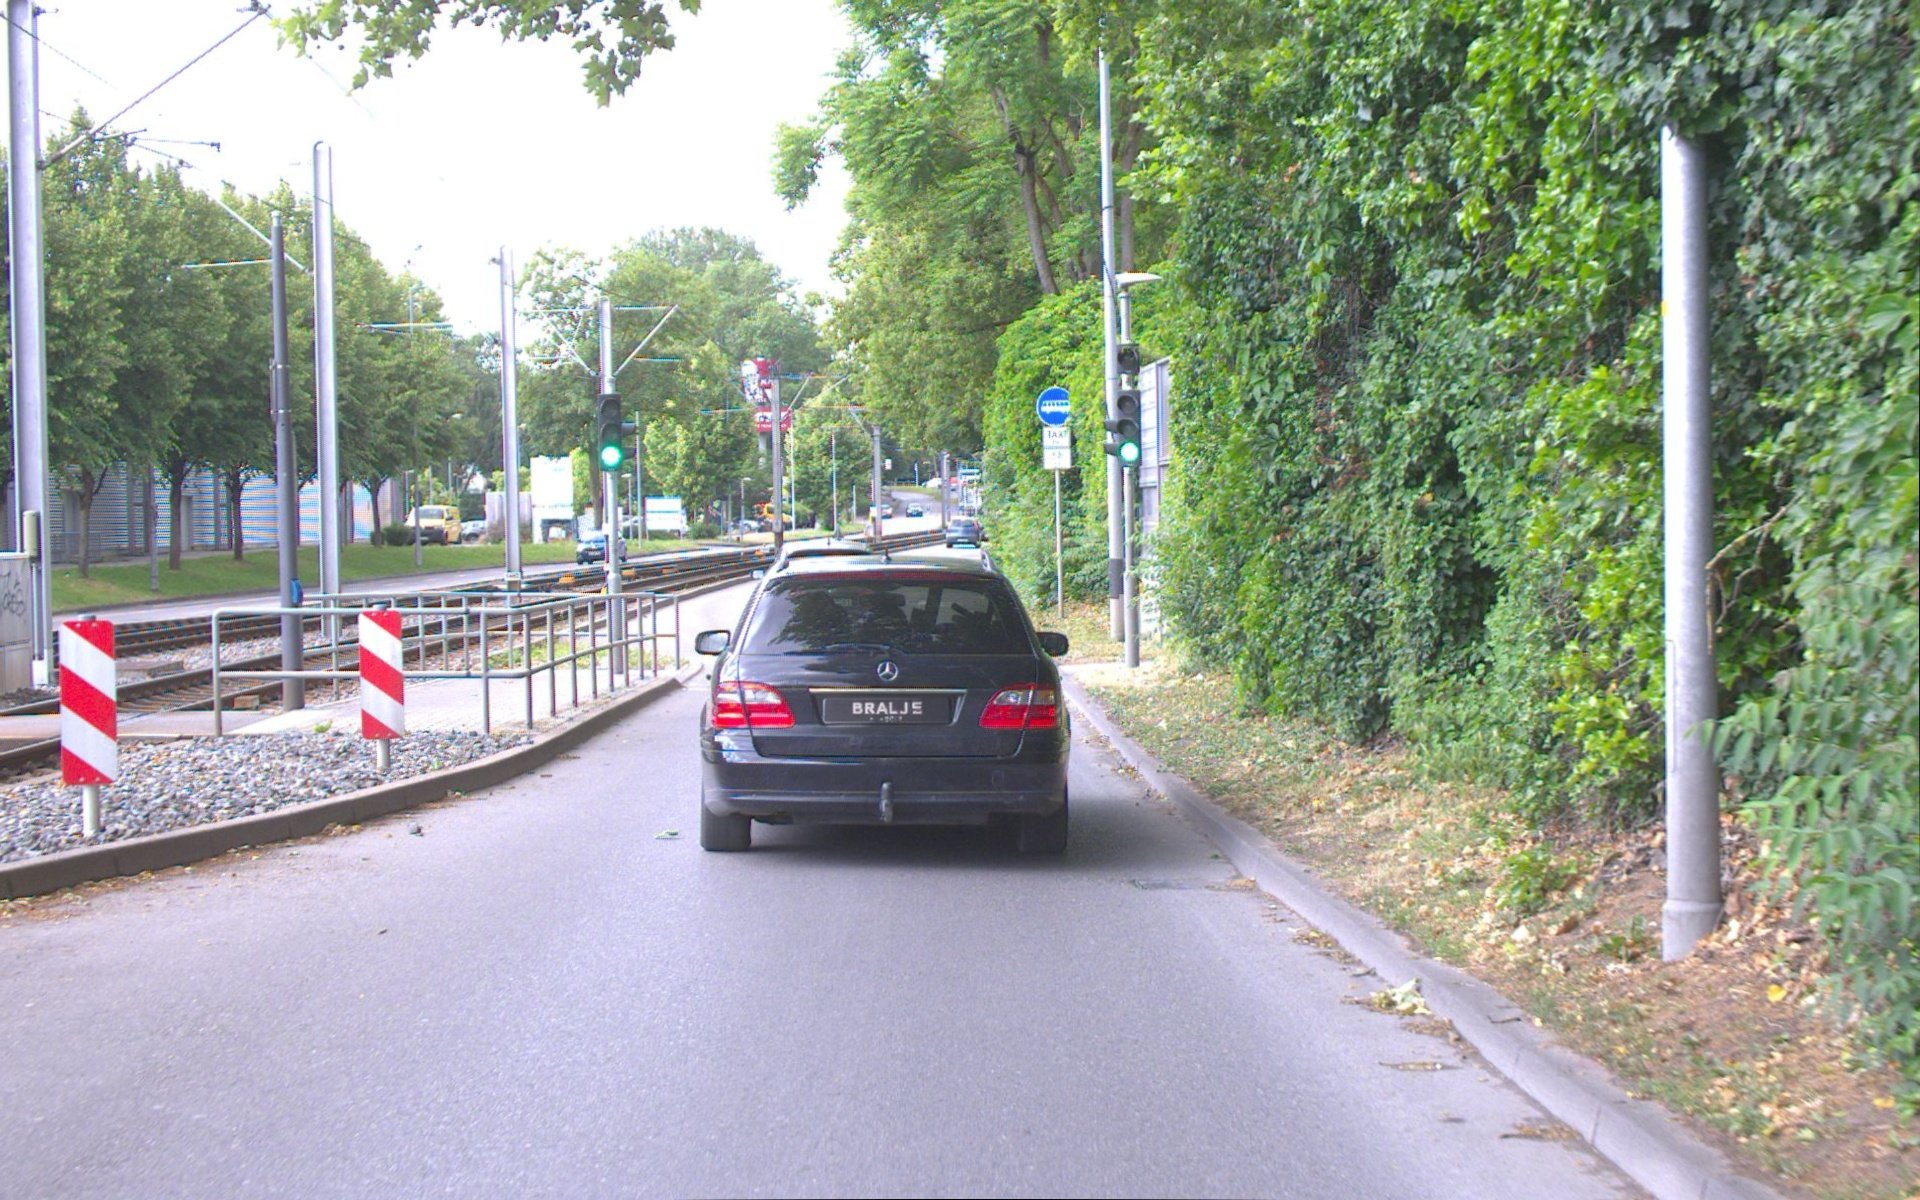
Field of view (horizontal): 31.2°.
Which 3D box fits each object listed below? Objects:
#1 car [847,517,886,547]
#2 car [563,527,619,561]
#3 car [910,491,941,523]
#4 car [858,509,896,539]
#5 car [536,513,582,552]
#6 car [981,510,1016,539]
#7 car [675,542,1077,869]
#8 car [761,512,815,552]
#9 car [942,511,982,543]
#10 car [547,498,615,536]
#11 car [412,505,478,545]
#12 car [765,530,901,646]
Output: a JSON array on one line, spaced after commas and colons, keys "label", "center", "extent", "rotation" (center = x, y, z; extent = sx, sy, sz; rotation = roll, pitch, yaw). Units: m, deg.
[{"label": "car", "center": [-4.819, -3.549, 178.143], "extent": [1.825, 1.524, 3.986], "rotation": [0, 2, 1]}, {"label": "car", "center": [-15.443, -2.373, 144.115], "extent": [1.660, 1.388, 3.718], "rotation": [0, 1, 4]}, {"label": "car", "center": [-2.243, -6.022, 223.008], "extent": [1.891, 2.007, 3.898], "rotation": [-2, 1, 0]}, {"label": "car", "center": [-4.420, -4.056, 183.023], "extent": [1.825, 1.524, 3.986], "rotation": [0, 2, 1]}, {"label": "car", "center": [-21.987, -3.700, 188.515], "extent": [1.993, 2.007, 4.000], "rotation": [-2, 1, -1]}, {"label": "car", "center": [2.055, -4.053, 184.021], "extent": [1.825, 1.524, 4.179], "rotation": [0, 2, 1]}, {"label": "car", "center": [-0.378, 0.446, 17.902], "extent": [1.833, 1.473, 4.416], "rotation": [0, 1, 0]}, {"label": "car", "center": [-6.693, -2.649, 134.115], "extent": [1.825, 1.524, 3.928], "rotation": [0, 2, 1]}, {"label": "car", "center": [0.123, -3.581, 168.712], "extent": [1.825, 1.524, 4.416], "rotation": [-1, 1, 1]}, {"label": "car", "center": [-23.033, -5.027, 209.055], "extent": [3.986, 2.116, 2.000], "rotation": [-3, 1, -5]}, {"label": "car", "center": [-23.645, -3.461, 157.996], "extent": [1.994, 1.737, 4.987], "rotation": [-2, 1, 4]}, {"label": "car", "center": [-1.750, -0.210, 48.492], "extent": [1.825, 1.524, 4.416], "rotation": [0, 2, -1]}]
